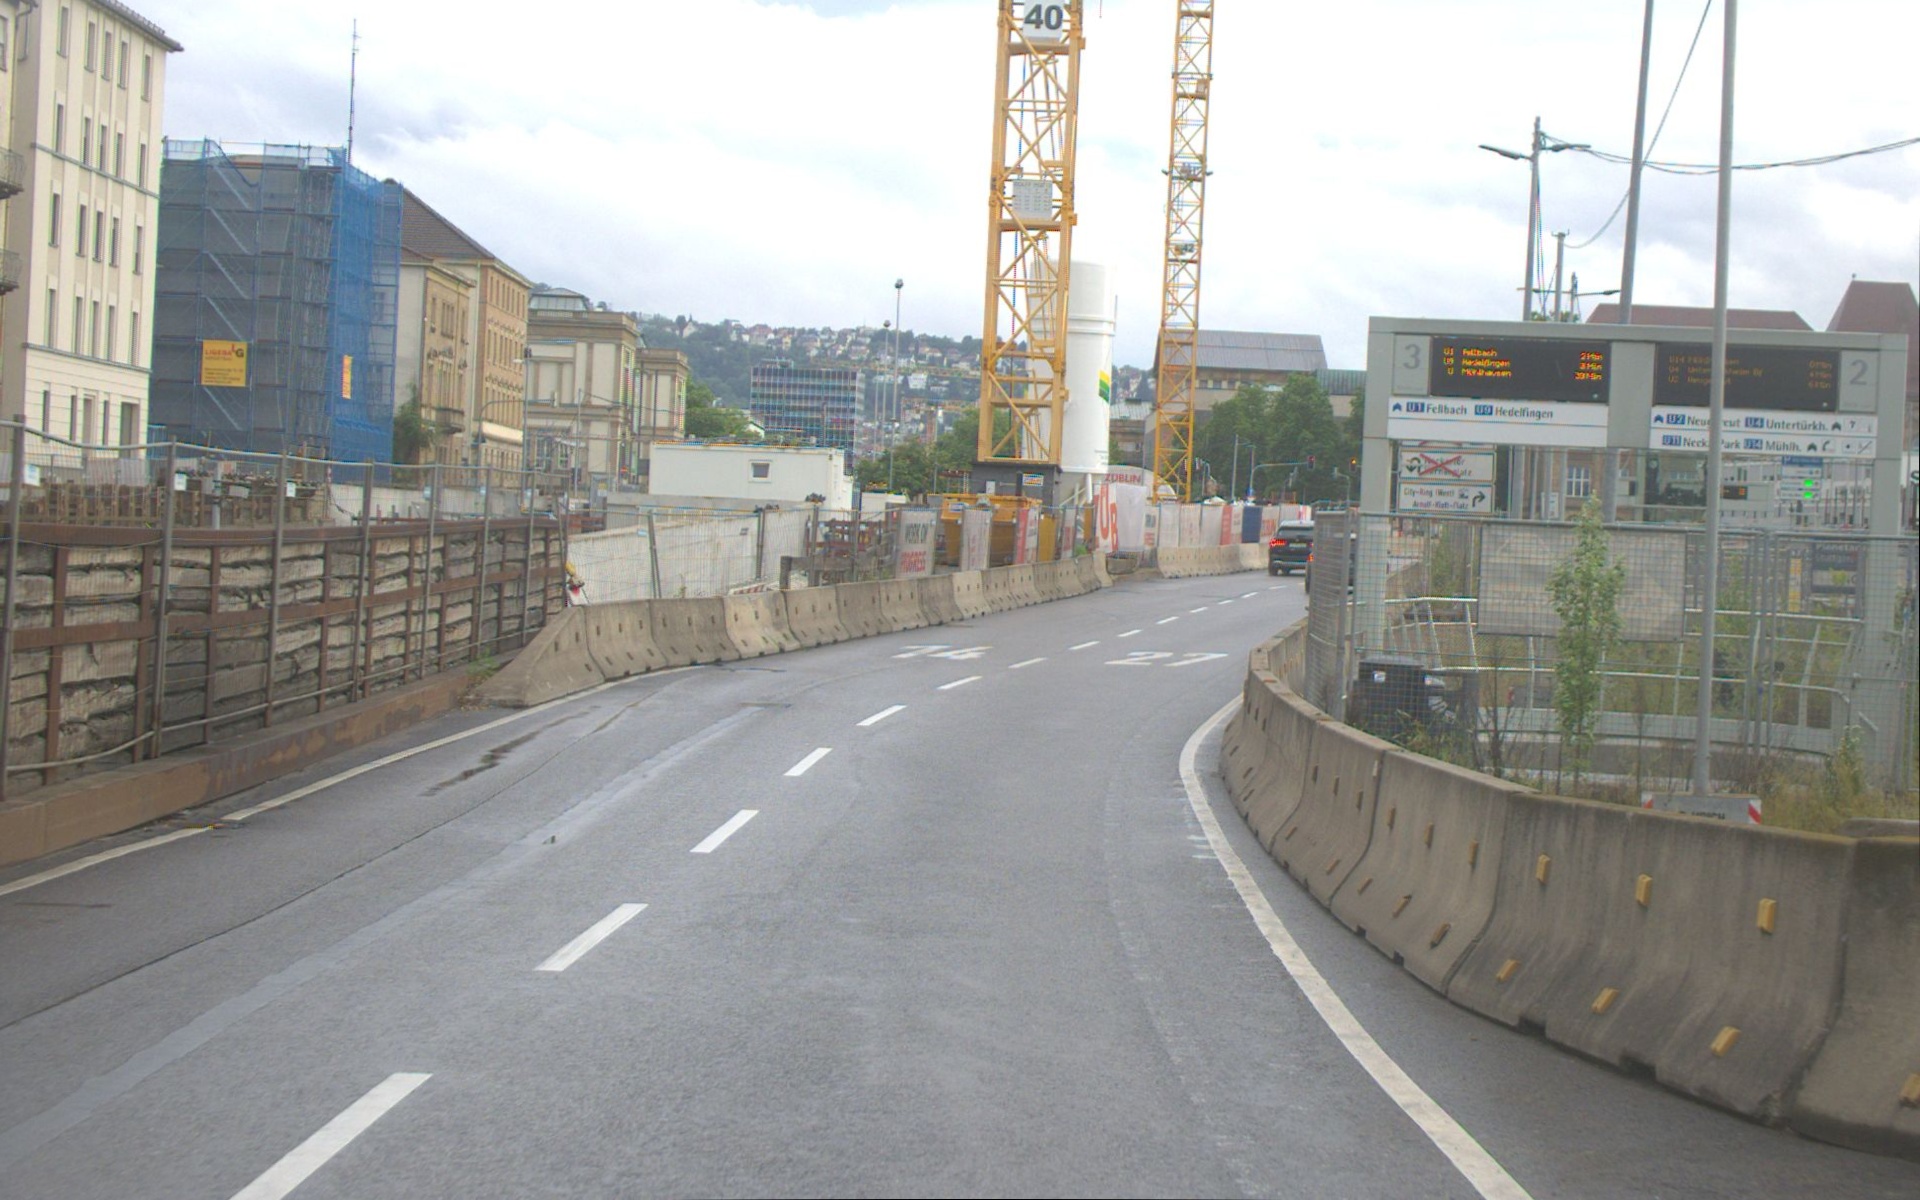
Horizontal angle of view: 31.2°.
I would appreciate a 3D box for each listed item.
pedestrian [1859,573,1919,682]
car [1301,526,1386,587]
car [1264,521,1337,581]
[{"bbox_3d":[14.699,0.424,53.447,1.019,1.652,0.900,2,1,-20],"label":"pedestrian"},{"bbox_3d":[9.425,-1.077,84.208,1.863,1.428,4.655,1,1,9],"label":"car"},{"bbox_3d":[10.275,-1.487,103.459,1.863,1.655,4.655,3,2,8],"label":"car"}]
